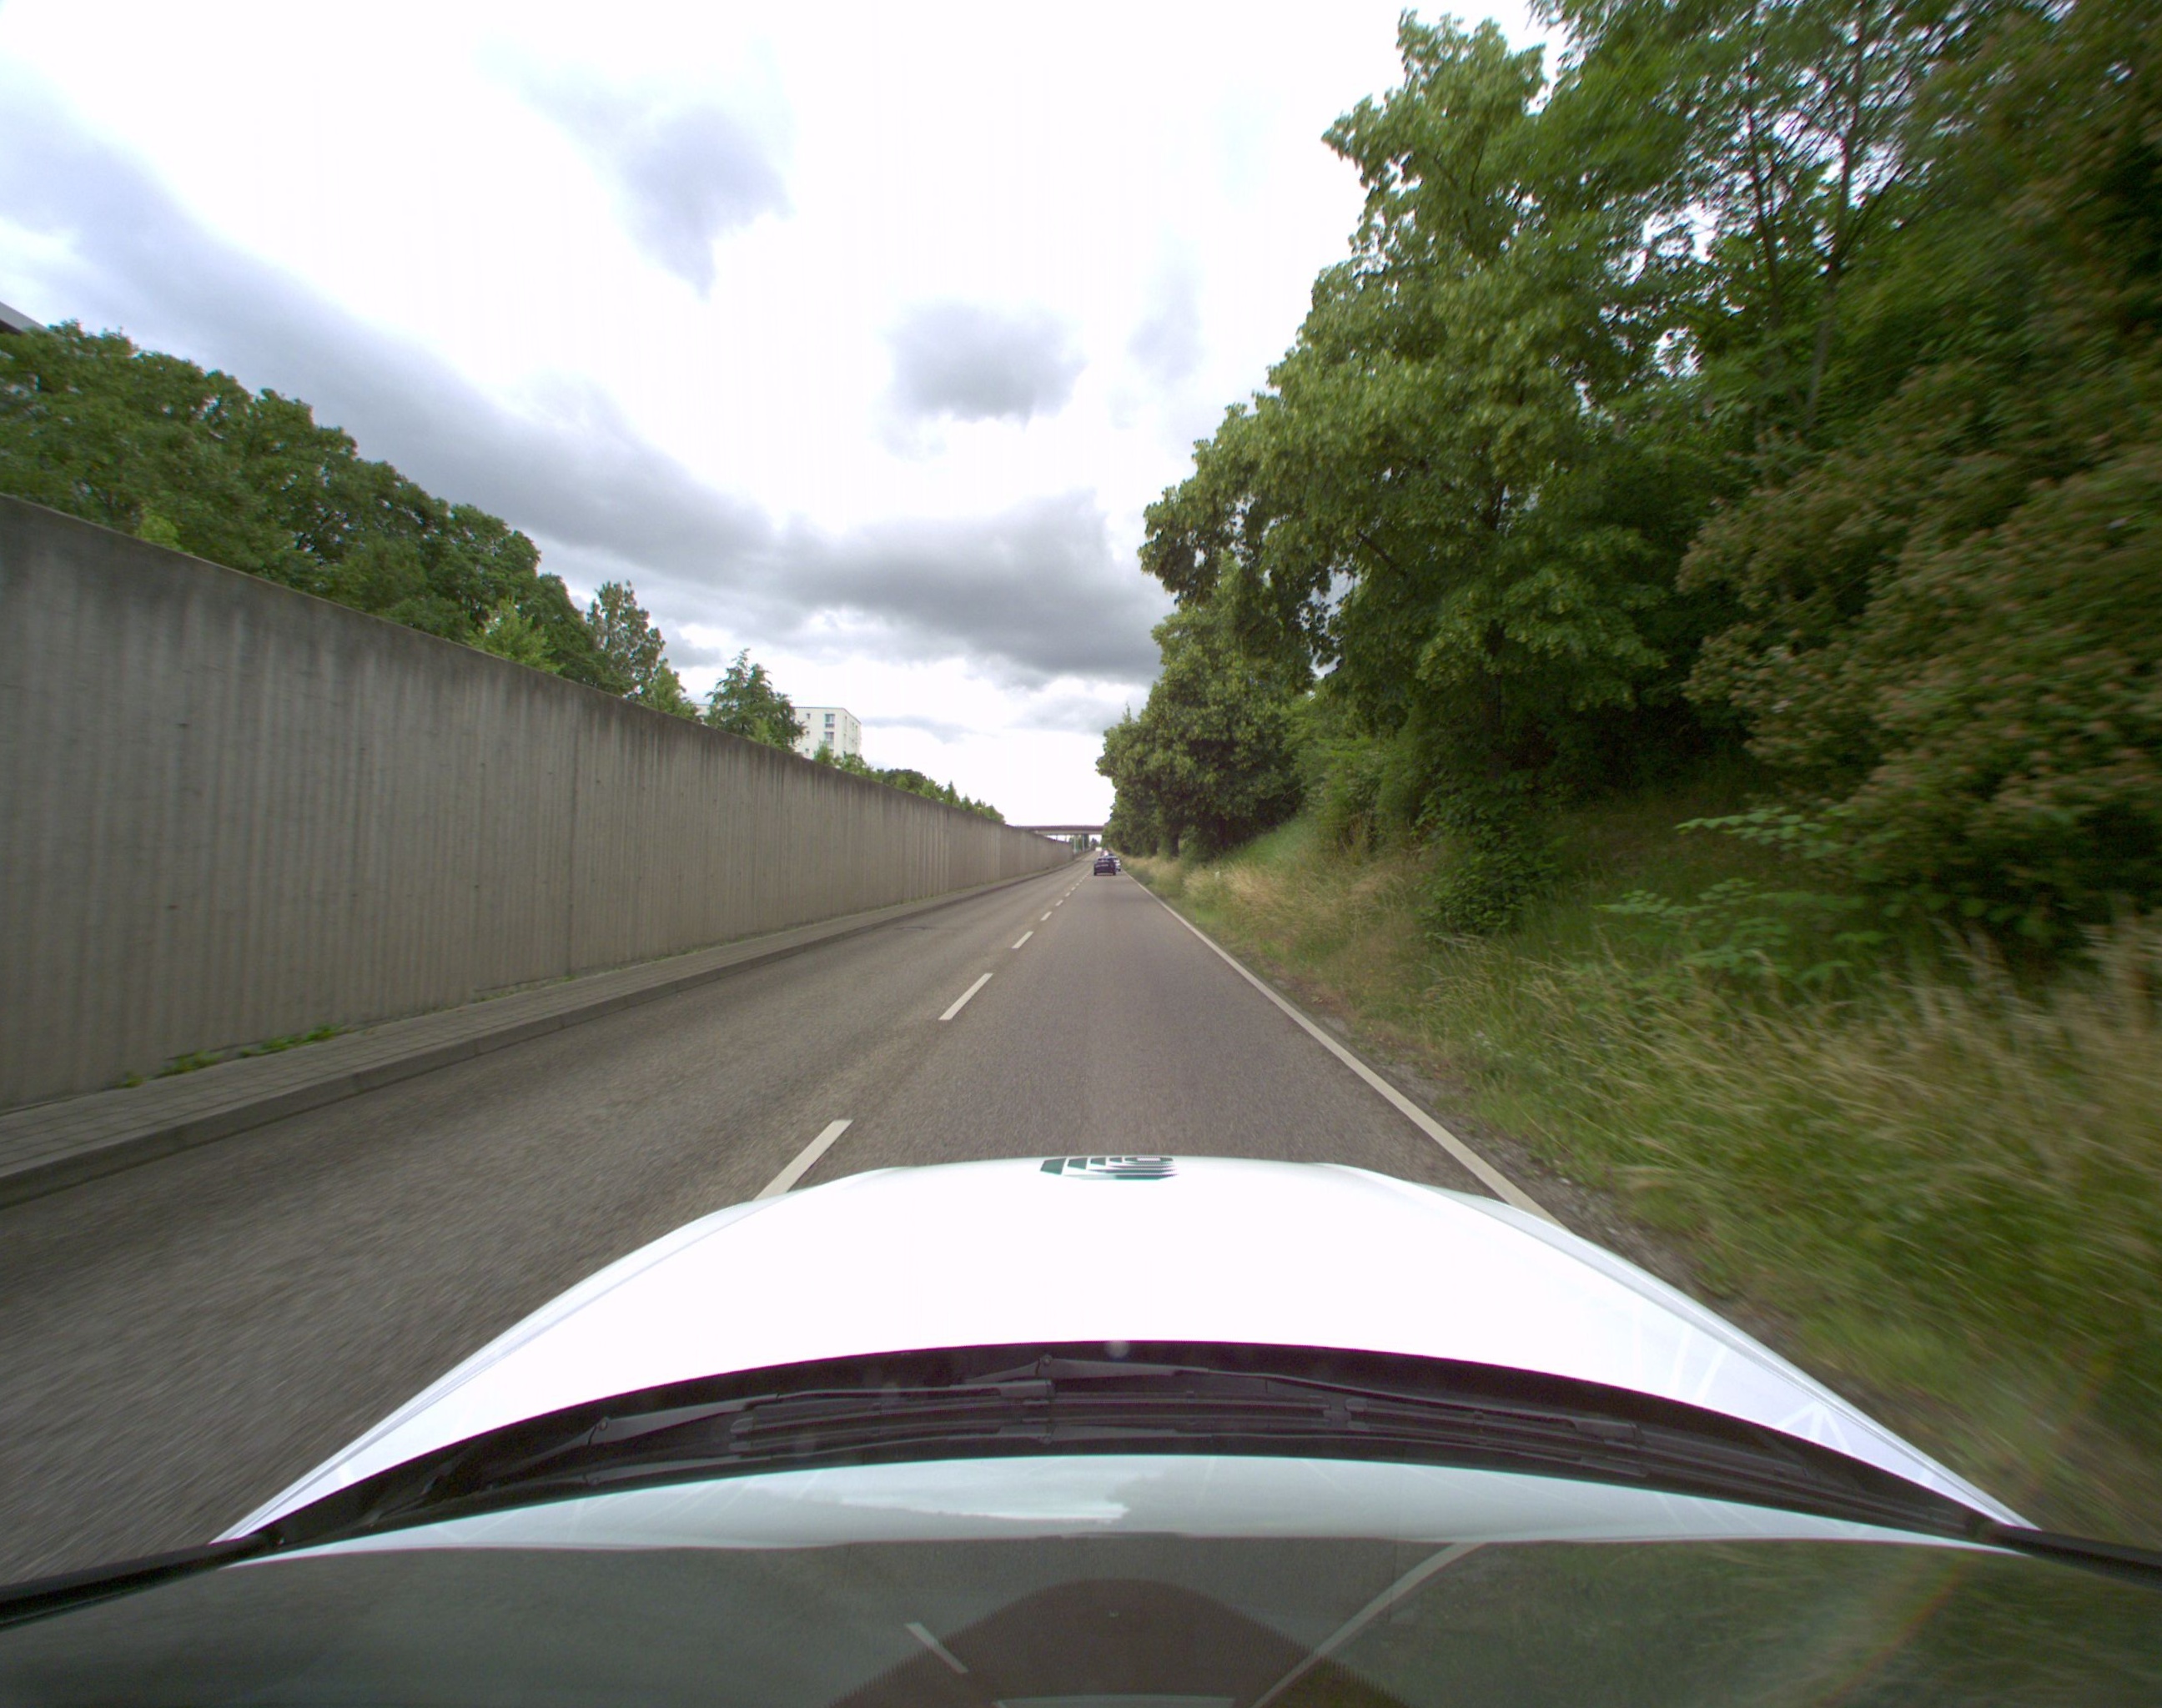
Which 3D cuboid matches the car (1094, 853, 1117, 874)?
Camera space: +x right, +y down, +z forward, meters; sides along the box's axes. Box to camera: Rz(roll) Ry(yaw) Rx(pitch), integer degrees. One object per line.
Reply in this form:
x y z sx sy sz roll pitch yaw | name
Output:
1.935 0.806 65.562 1.748 1.523 4.037 -2 -2 1 | car

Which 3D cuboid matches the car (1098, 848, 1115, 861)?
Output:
3.113 0.077 99.890 1.861 1.490 4.256 3 0 0 | car

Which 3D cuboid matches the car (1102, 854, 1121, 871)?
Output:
3.012 0.885 80.684 1.748 1.523 4.037 -3 -1 2 | car
